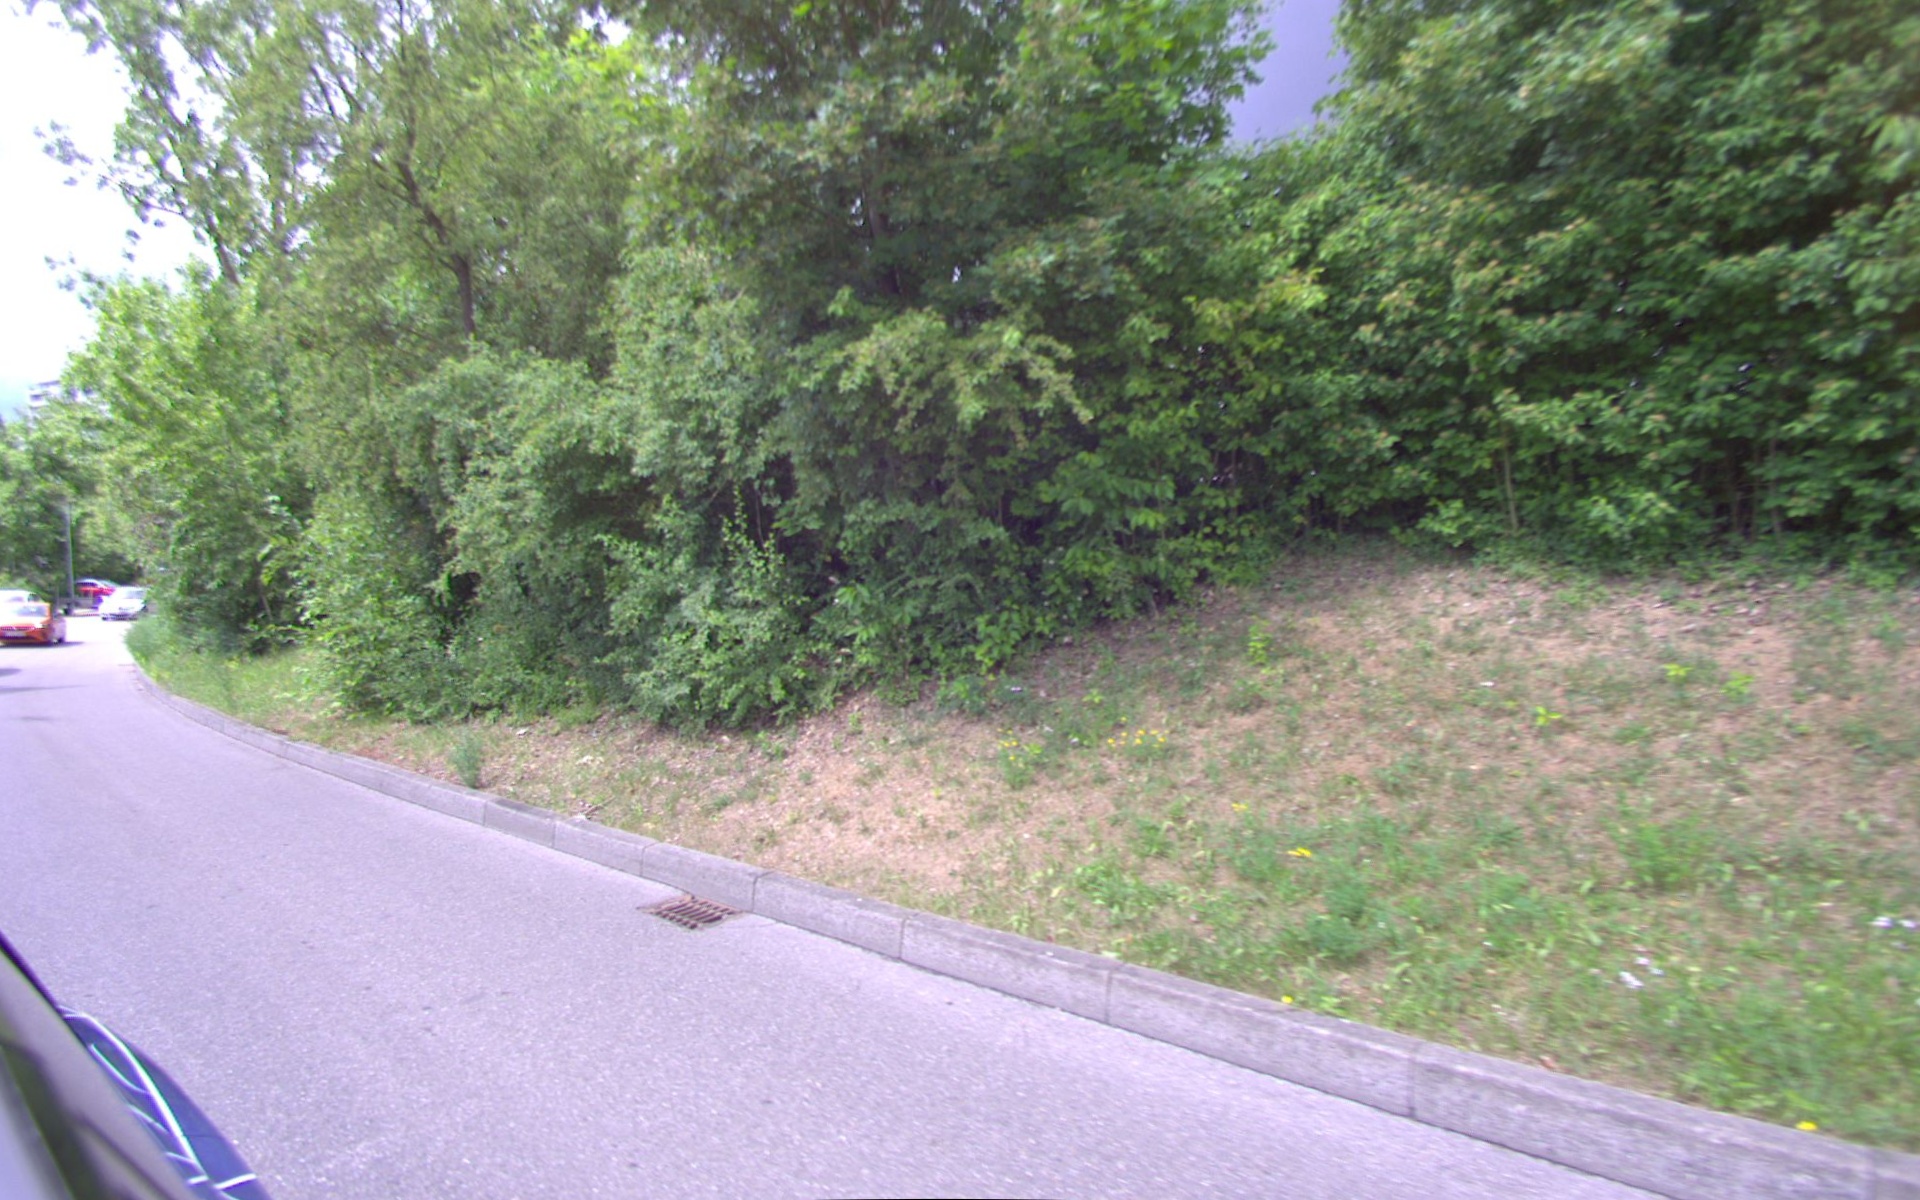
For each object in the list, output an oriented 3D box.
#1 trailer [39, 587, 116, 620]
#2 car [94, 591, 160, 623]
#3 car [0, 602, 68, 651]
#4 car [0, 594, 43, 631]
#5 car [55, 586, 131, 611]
[{"bbox_3d":[-45.848,0.156,52.687,1.784,1.590,4.505,0,2,-24],"label":"trailer"},{"bbox_3d":[-42.008,0.328,51.129,1.766,1.520,4.126,-1,1,-28],"label":"car"},{"bbox_3d":[-31.364,0.848,33.888,1.767,1.423,4.124,2,0,-35],"label":"car"},{"bbox_3d":[-41.802,0.512,44.214,1.682,1.488,3.796,0,1,-28],"label":"car"},{"bbox_3d":[-56.574,-0.114,66.054,3.435,1.528,1.654,0,3,-5],"label":"car"}]
